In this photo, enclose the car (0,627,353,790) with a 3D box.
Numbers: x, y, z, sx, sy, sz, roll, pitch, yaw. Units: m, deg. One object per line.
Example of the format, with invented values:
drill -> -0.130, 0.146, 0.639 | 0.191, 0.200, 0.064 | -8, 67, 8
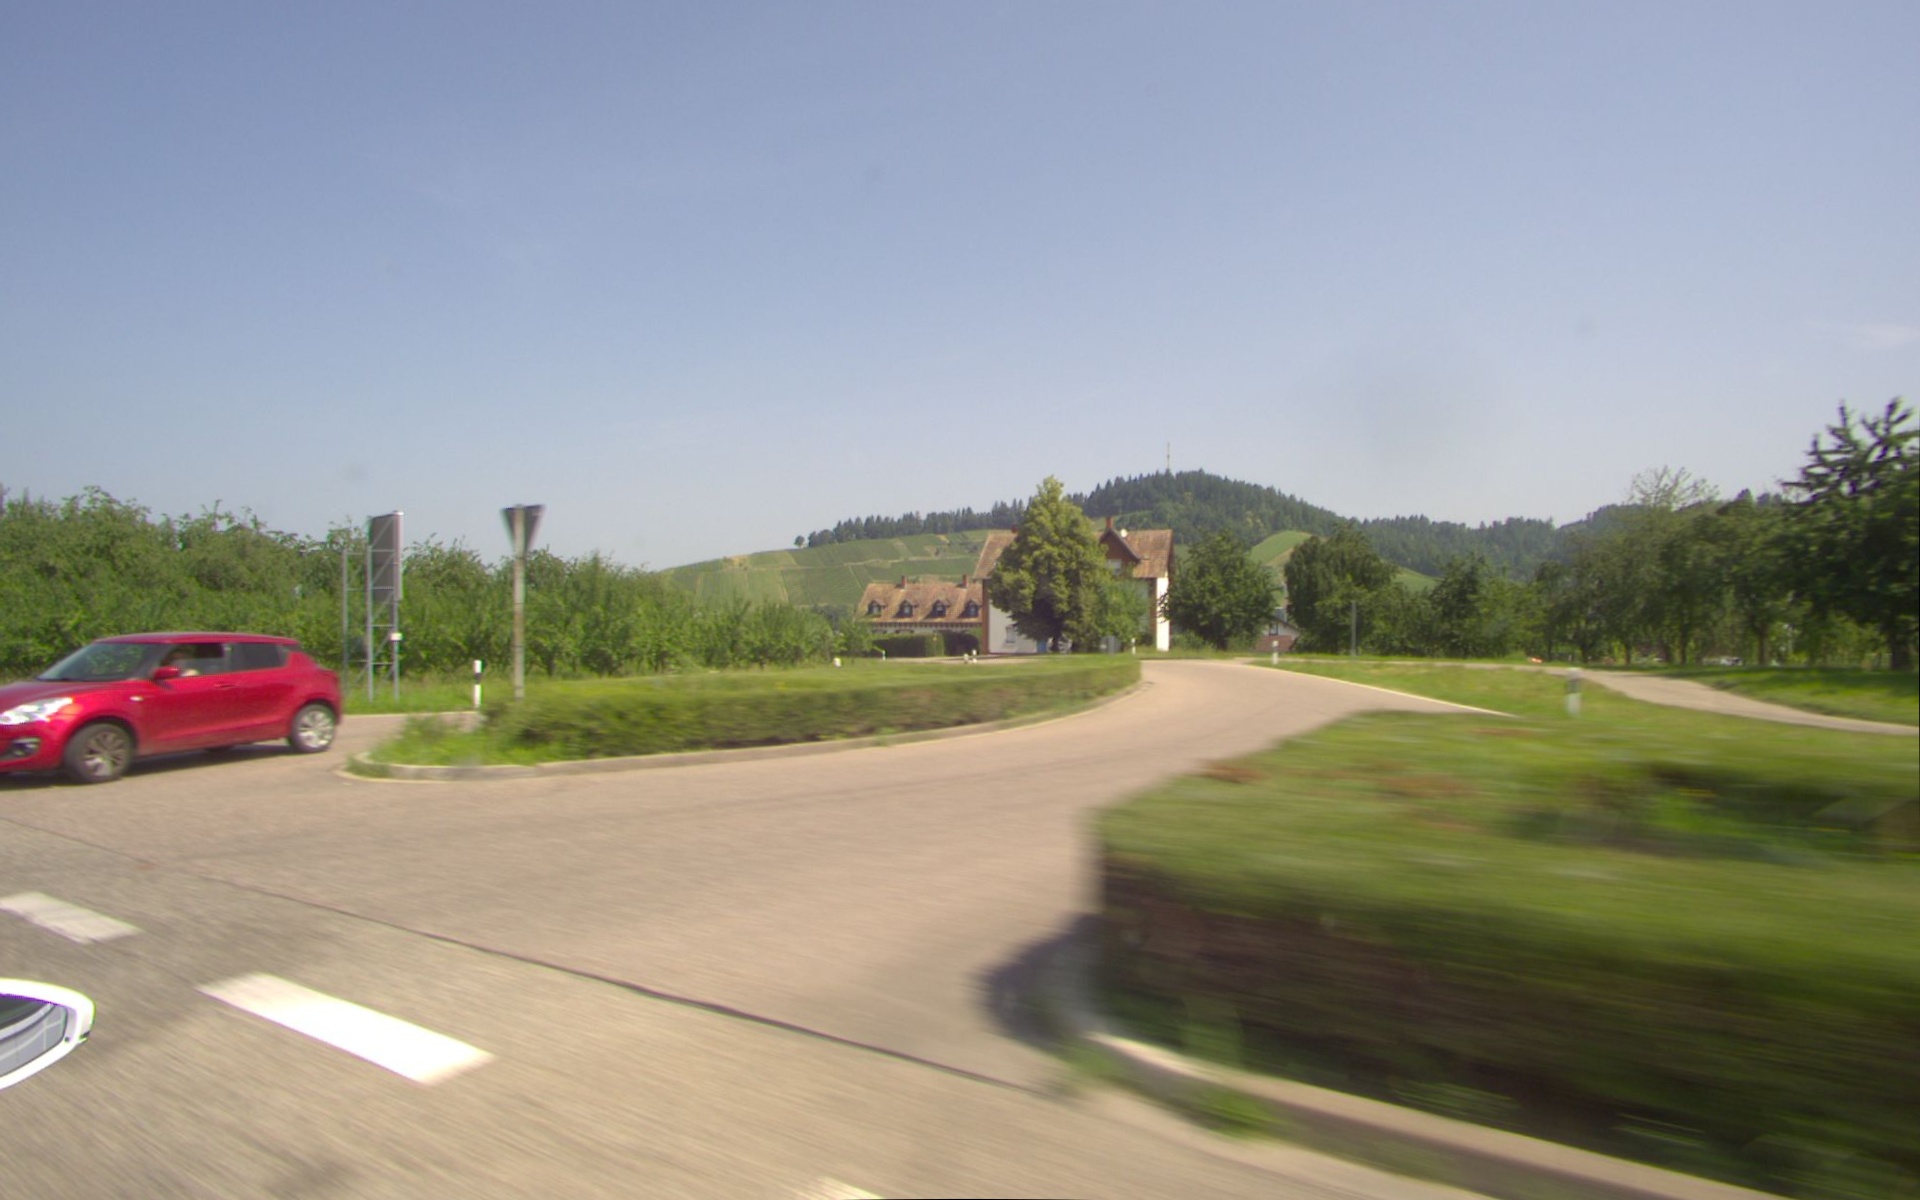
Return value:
car -> -9.131, 1.080, 11.363 | 1.641, 1.511, 3.750 | 0, -2, 14
